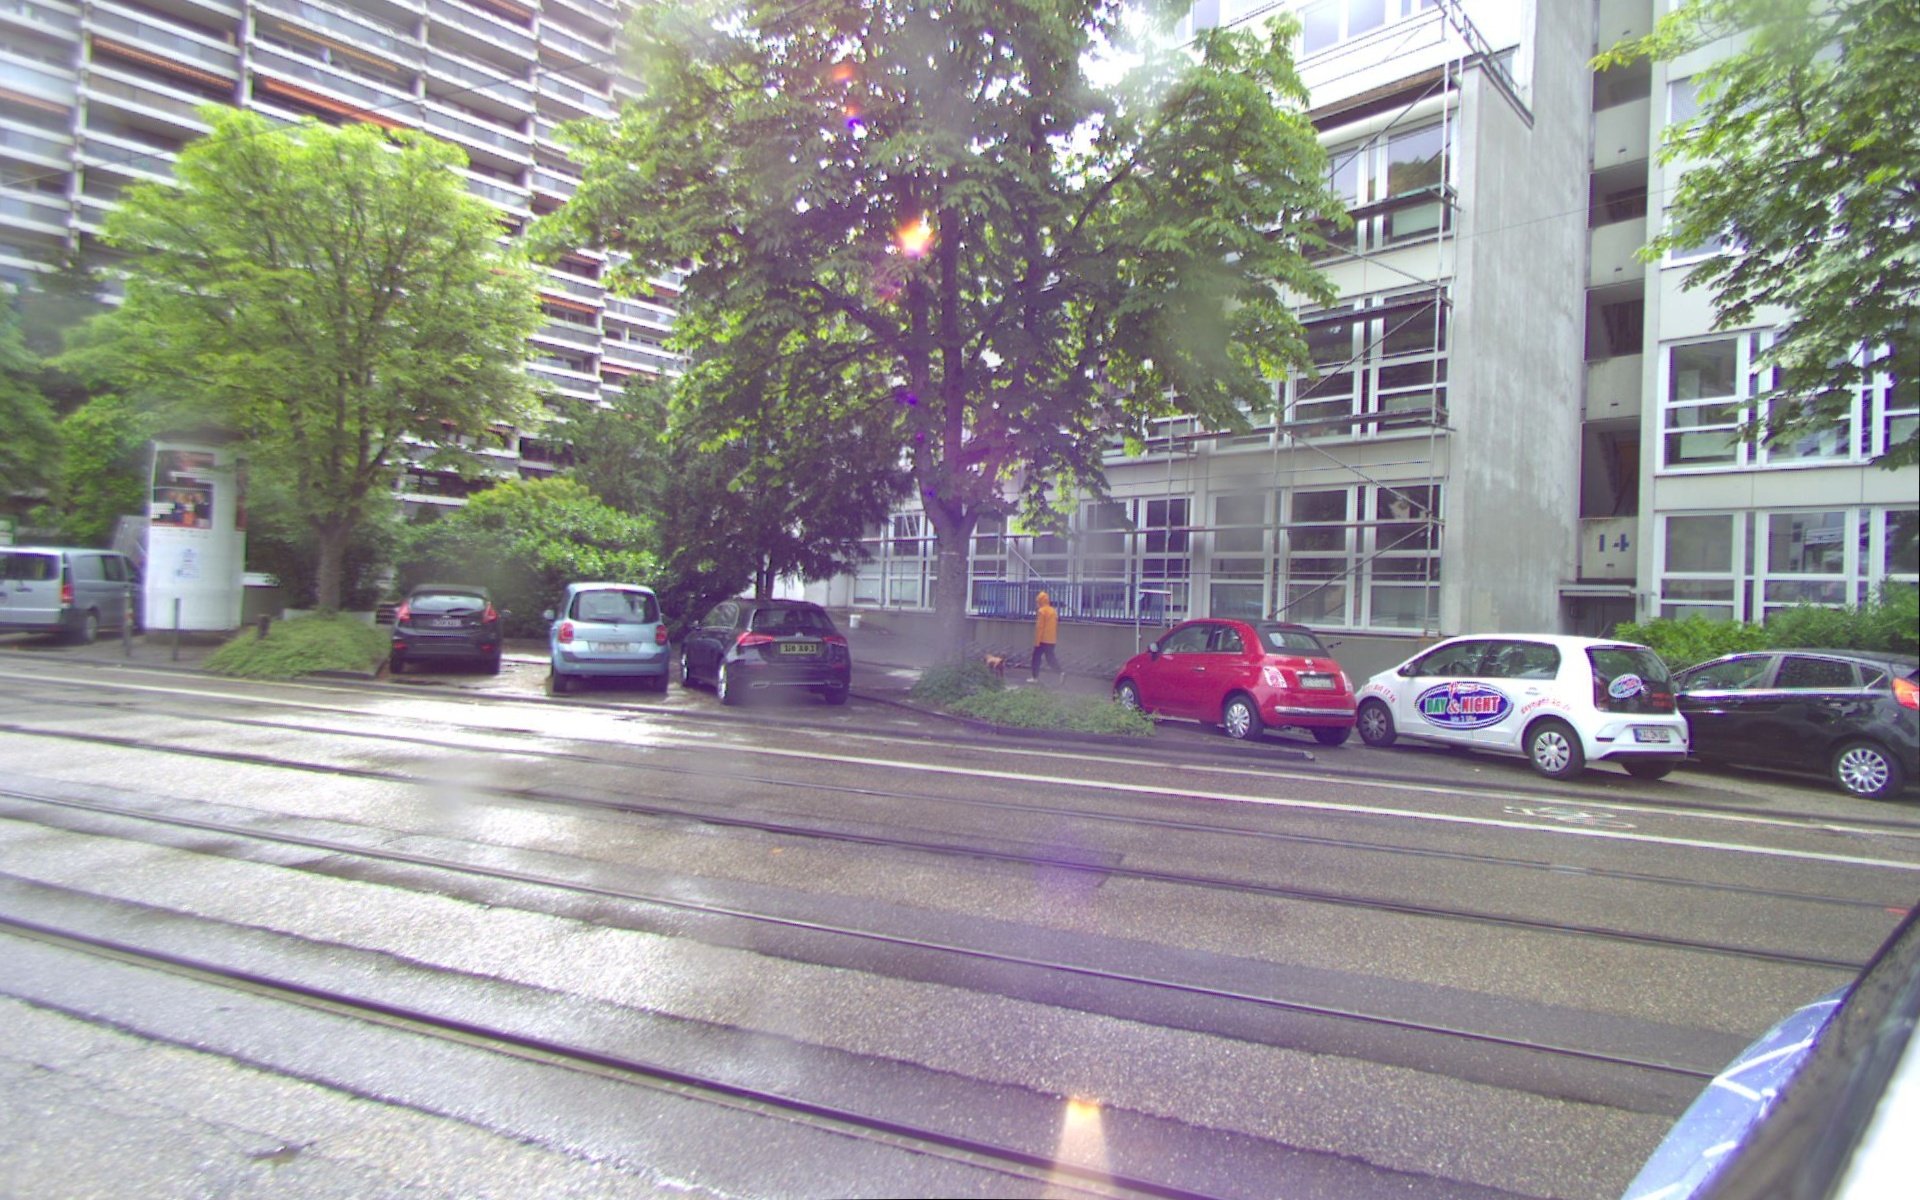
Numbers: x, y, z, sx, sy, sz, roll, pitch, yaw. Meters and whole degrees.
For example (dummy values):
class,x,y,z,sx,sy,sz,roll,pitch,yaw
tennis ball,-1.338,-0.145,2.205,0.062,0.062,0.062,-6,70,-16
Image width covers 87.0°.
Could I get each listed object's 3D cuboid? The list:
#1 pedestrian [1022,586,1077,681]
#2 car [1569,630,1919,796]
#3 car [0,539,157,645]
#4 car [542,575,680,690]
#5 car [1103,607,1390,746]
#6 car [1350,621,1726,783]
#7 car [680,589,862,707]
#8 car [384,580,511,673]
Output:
class,x,y,z,sx,sy,sz,roll,pitch,yaw
pedestrian,1.706,0.641,19.354,0.692,1.766,0.840,3,-3,-21
car,9.217,1.135,11.238,1.778,1.500,3.986,3,-2,-18
car,-18.550,-0.165,20.868,1.897,1.921,4.653,3,-1,-24
car,-5.587,0.470,15.941,1.673,1.571,3.656,3,-1,-24
car,3.547,0.910,13.115,1.705,1.488,3.413,4,-2,-25
car,6.394,1.041,11.595,1.675,1.470,3.414,3,-1,-22
car,-2.883,0.634,14.810,1.705,1.488,3.656,3,-1,-25
car,-8.944,0.429,17.714,1.733,1.415,3.655,3,-1,-27
